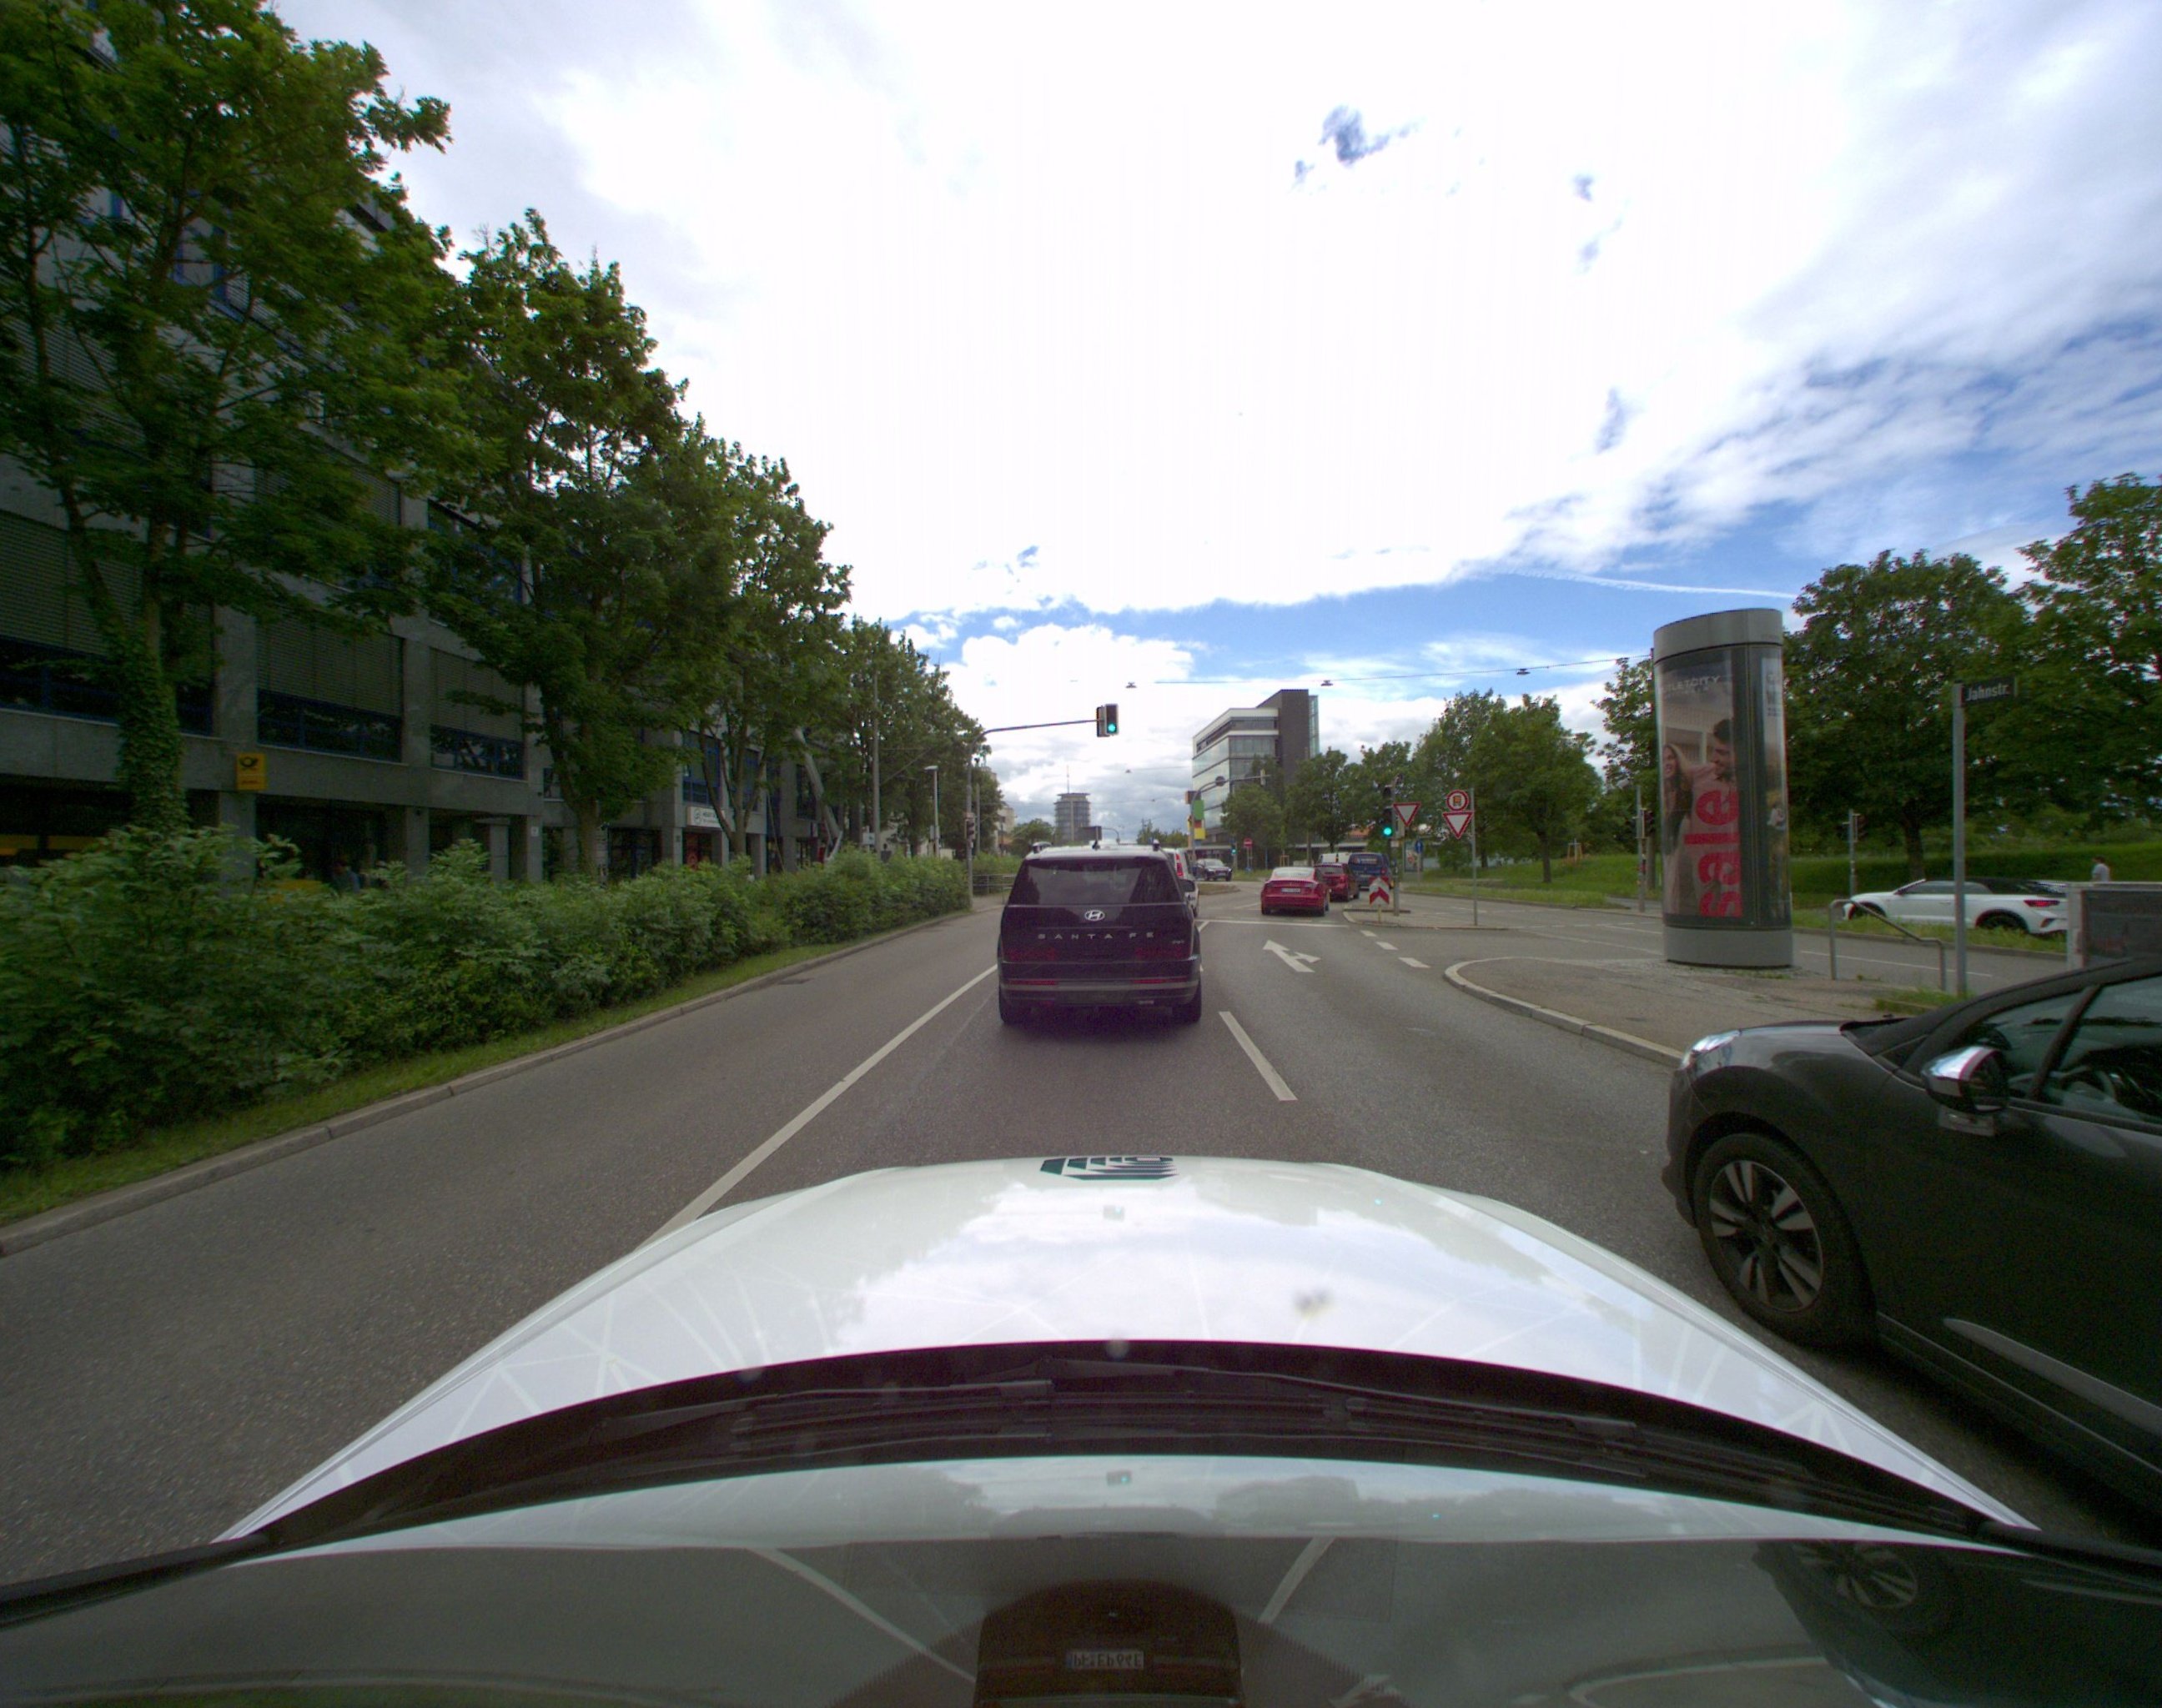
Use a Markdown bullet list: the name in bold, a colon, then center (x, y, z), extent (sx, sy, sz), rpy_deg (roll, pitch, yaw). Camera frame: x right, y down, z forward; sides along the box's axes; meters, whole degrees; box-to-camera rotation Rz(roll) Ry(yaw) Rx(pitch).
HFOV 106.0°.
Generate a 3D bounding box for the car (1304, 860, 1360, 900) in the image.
- **car**: center (10.111, 0.994, 32.675), extent (1.729, 1.481, 3.739), rpy_deg (0, 0, 24)

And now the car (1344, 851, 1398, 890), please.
- **car**: center (14.733, 0.802, 41.219), extent (1.884, 1.859, 4.737), rpy_deg (0, -1, 28)

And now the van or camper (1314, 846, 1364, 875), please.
- **van or camper**: center (17.803, 0.422, 56.365), extent (1.988, 1.918, 4.406), rpy_deg (0, 0, -1)

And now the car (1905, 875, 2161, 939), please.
- **car**: center (24.984, 1.313, 21.530), extent (1.984, 1.442, 4.143), rpy_deg (1, 0, -11)

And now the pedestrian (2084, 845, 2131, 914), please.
- **pedestrian**: center (29.771, 0.722, 23.626), extent (0.589, 1.917, 0.750), rpy_deg (-6, 3, -28)

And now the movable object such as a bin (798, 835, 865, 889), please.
- **movable object such as a bin**: center (-12.229, 0.375, 40.161), extent (1.898, 2.531, 4.128), rpy_deg (0, 0, 1)

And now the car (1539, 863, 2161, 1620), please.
- **car**: center (2.954, 0.763, 1.767), extent (1.695, 1.461, 4.062), rpy_deg (0, 0, 1)

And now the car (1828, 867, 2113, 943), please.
- **car**: center (21.630, 1.143, 20.128), extent (1.850, 1.530, 4.472), rpy_deg (1, 1, -11)

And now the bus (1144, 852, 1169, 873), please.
- **bus**: center (12.190, 1.383, 132.061), extent (2.958, 3.117, 9.238), rpy_deg (-2, -1, -1)

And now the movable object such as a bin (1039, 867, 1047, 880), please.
- **movable object such as a bin**: center (-3.145, 1.634, 67.876), extent (0.563, 1.012, 0.836), rpy_deg (-1, -1, -8)

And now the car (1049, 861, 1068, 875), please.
- **car**: center (-2.693, 1.678, 97.143), extent (1.782, 1.537, 4.382), rpy_deg (0, 0, -9)

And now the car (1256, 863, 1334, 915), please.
- **car**: center (6.705, 1.016, 25.226), extent (1.857, 1.418, 4.465), rpy_deg (0, 0, 21)

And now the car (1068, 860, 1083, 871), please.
- **car**: center (-0.719, 1.535, 112.164), extent (1.795, 1.455, 4.606), rpy_deg (0, 0, -4)

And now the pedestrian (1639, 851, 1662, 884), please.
- **pedestrian**: center (28.800, 0.660, 41.202), extent (0.542, 1.604, 0.698), rpy_deg (-5, 1, -16)

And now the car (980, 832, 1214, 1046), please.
- **car**: center (0.205, 0.705, 8.857), extent (1.895, 1.731, 4.448), rpy_deg (0, 0, 2)

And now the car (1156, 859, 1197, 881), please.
- **car**: center (6.691, 1.083, 57.565), extent (1.782, 1.425, 4.382), rpy_deg (0, 0, -9)

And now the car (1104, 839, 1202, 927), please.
- **car**: center (1.970, 0.672, 20.782), extent (1.889, 1.969, 4.651), rpy_deg (0, 0, 12)

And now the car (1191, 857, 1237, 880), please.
- **car**: center (9.536, 1.006, 58.812), extent (1.889, 1.564, 4.379), rpy_deg (0, 0, -11)

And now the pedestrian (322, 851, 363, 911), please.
- **pedestrian**: center (-16.754, 0.606, 18.484), extent (0.364, 1.334, 0.558), rpy_deg (2, 0, -3)
